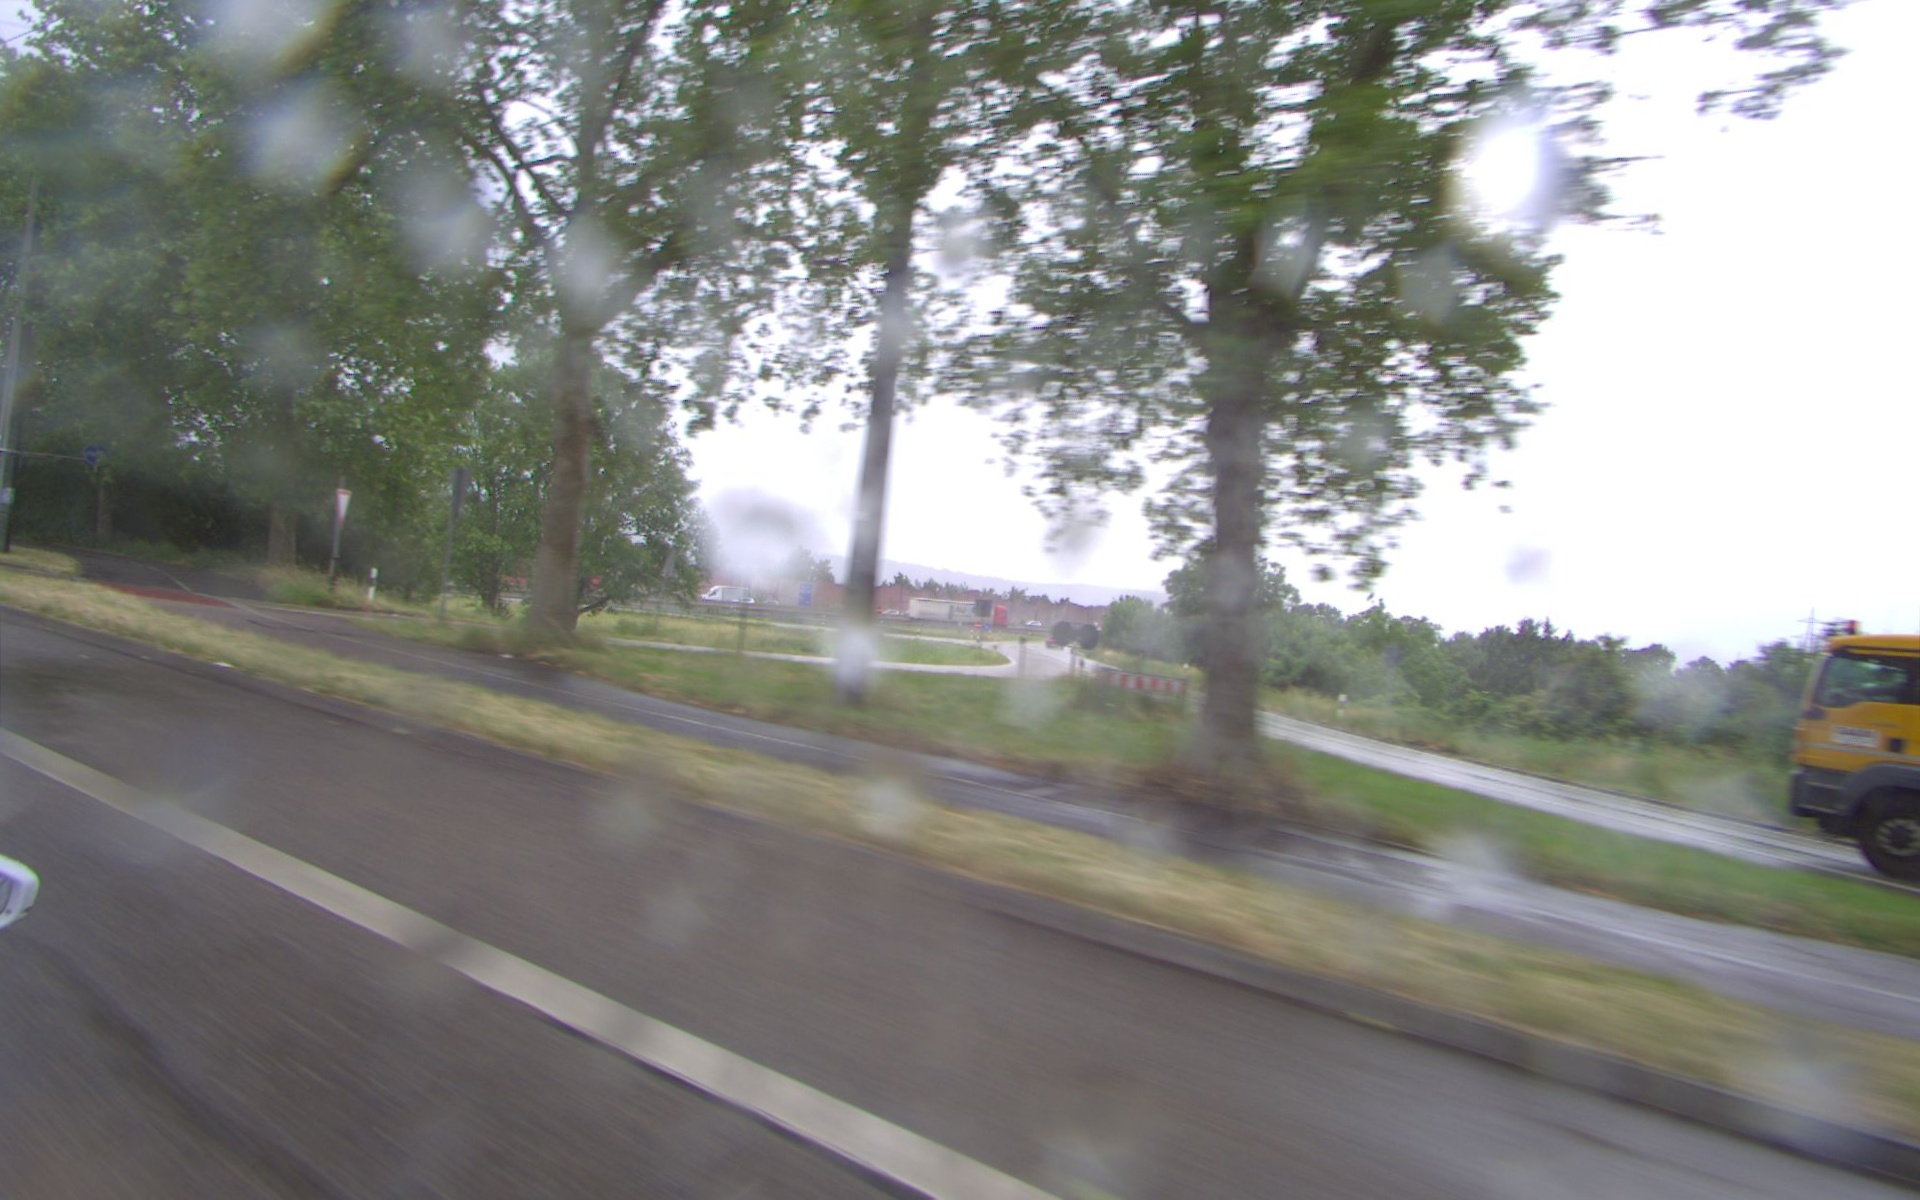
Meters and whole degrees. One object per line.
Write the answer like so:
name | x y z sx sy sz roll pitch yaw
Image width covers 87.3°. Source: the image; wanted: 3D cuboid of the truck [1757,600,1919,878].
truck | 13.369 1.904 10.848 2.529 3.295 6.904 9 -1 -19

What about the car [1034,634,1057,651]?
car | 9.280 4.595 108.757 1.651 1.436 3.611 8 -2 17

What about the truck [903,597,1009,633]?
truck | -0.470 2.335 155.300 16.579 4.212 3.266 5 1 -29
